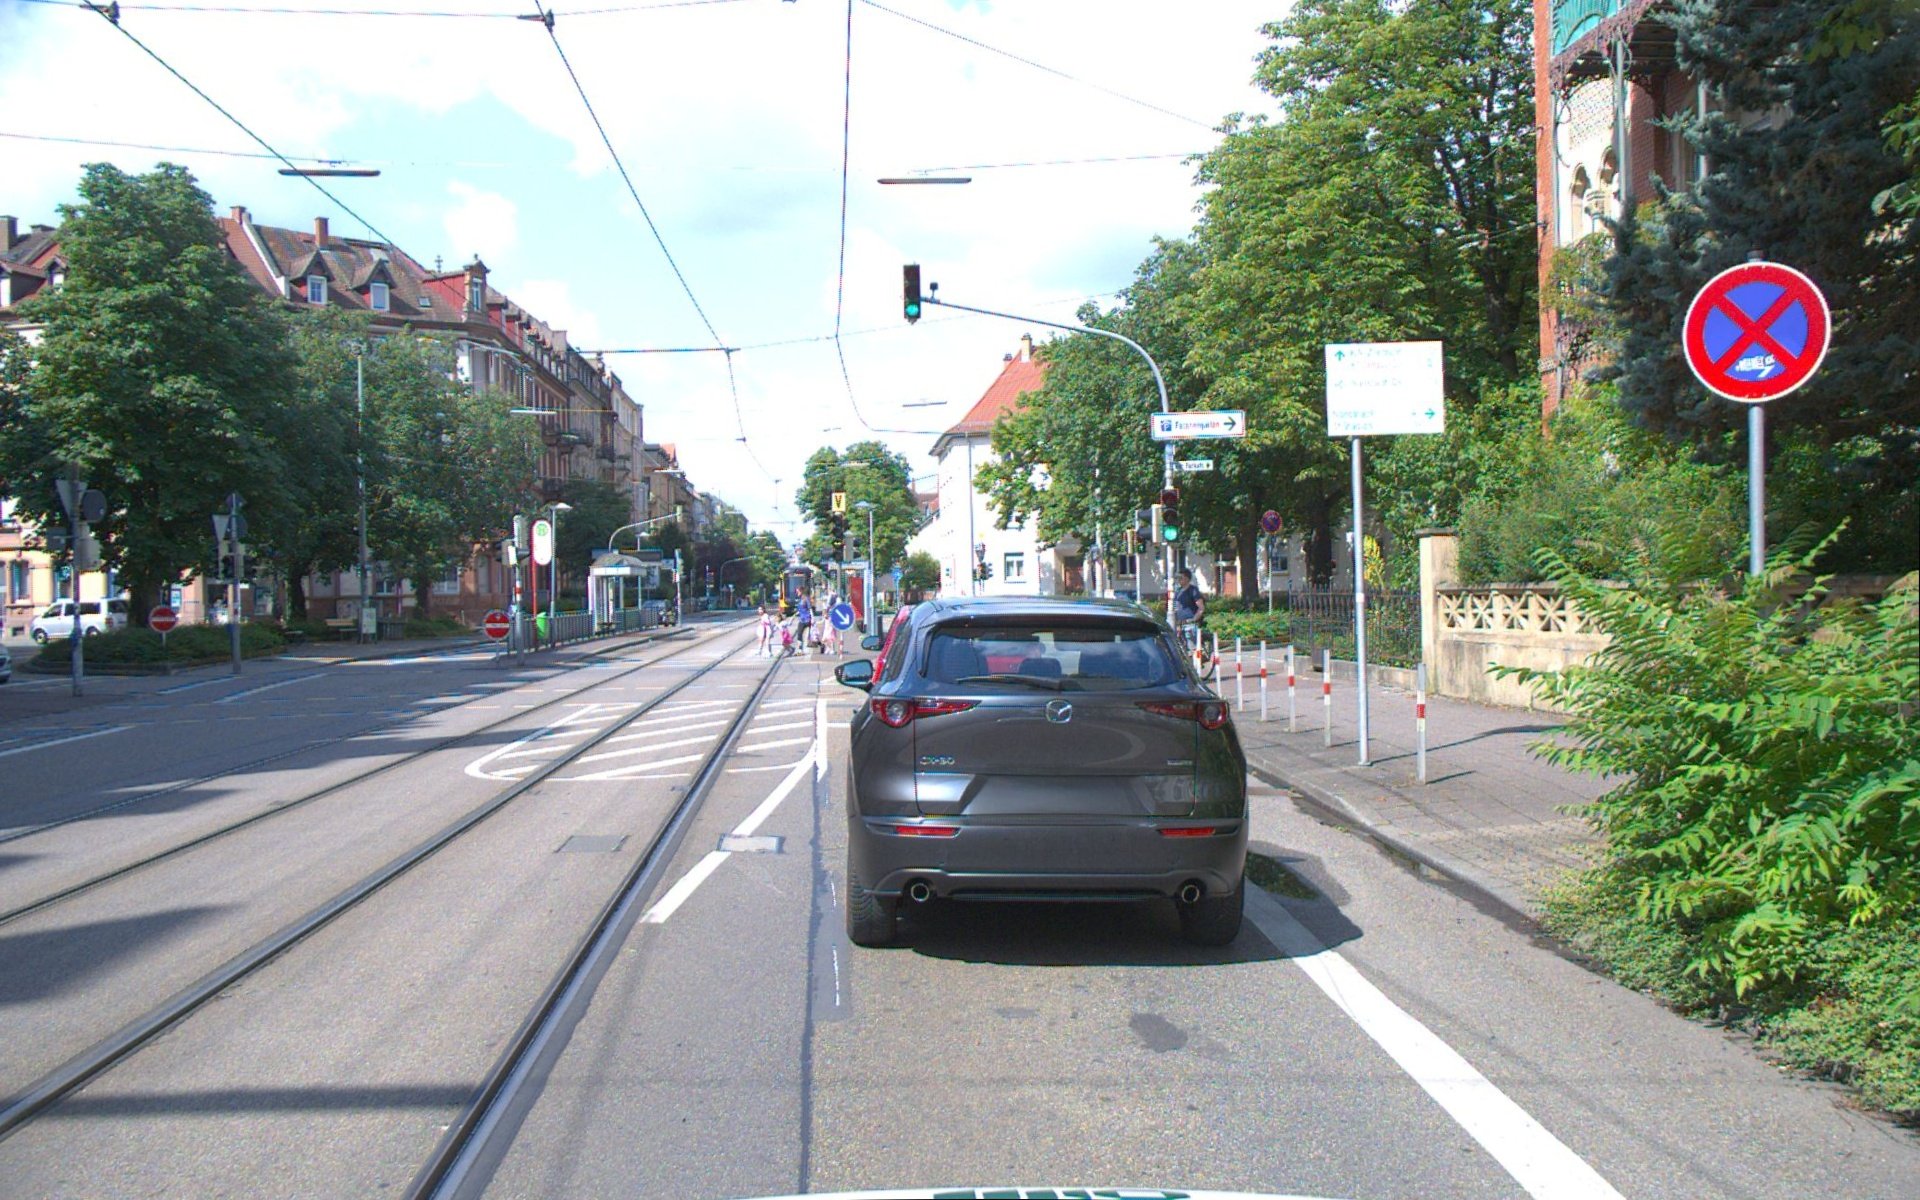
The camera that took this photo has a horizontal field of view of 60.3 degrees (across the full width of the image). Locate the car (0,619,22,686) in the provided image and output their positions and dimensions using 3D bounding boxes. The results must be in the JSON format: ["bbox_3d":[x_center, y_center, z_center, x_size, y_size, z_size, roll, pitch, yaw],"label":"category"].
[{"bbox_3d":[-22.492,1.184,36.639,3.800,1.445,1.713,-1,0,39],"label":"car"}]

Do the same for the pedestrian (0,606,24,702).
[{"bbox_3d":[-17.489,0.976,29.740,0.837,1.702,0.821,-1,0,-3],"label":"pedestrian"}]

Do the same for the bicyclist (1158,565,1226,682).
[{"bbox_3d":[3.751,0.368,26.750,0.724,1.851,0.813,-1,0,-27],"label":"bicyclist"}]

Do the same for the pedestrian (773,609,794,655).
[{"bbox_3d":[-4.368,0.789,40.971,0.429,1.127,0.422,-3,0,-9],"label":"pedestrian"}]

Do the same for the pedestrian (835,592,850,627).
[{"bbox_3d":[-5.403,0.441,76.144,0.654,1.573,0.580,-1,0,-6],"label":"pedestrian"}]

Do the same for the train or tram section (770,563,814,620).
[{"bbox_3d":[-12.706,-0.520,125.772,2.939,4.053,13.795,-1,-1,-4],"label":"train or tram section"}]

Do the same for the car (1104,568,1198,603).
[{"bbox_3d":[9.120,-0.704,79.015,4.090,1.536,1.844,-1,2,38],"label":"car"}]

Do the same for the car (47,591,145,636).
[{"bbox_3d":[-40.020,0.623,76.640,3.853,2.023,1.857,-1,0,19],"label":"car"}]

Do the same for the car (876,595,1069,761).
[{"bbox_3d":[0.066,0.704,16.898,1.739,1.489,3.841,0,0,-2],"label":"car"}]

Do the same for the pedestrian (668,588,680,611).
[{"bbox_3d":[-21.663,-0.065,125.476,0.772,1.718,0.731,-1,0,-3],"label":"pedestrian"}]

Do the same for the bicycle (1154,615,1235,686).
[{"bbox_3d":[3.818,0.805,26.875,0.382,1.053,1.836,-1,1,39],"label":"bicycle"}]

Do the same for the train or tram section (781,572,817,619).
[{"bbox_3d":[-14.836,-0.324,153.316,2.939,4.053,13.795,-1,-1,-4],"label":"train or tram section"}]

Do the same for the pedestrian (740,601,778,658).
[{"bbox_3d":[-4.864,0.710,40.005,0.810,1.326,0.716,-3,0,-9],"label":"pedestrian"}]

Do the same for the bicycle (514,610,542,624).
[{"bbox_3d":[-24.044,0.944,92.085,0.378,0.760,1.707,-1,0,31],"label":"bicycle"}]

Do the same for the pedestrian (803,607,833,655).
[{"bbox_3d":[-3.468,0.746,40.347,0.631,1.133,0.441,-1,0,-19],"label":"pedestrian"}]

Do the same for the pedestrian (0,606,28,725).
[{"bbox_3d":[-14.590,0.966,24.762,0.741,1.734,0.873,3,0,-5],"label":"pedestrian"}]

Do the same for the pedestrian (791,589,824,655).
[{"bbox_3d":[-3.778,0.540,40.914,0.714,1.593,0.797,-1,0,-9],"label":"pedestrian"}]

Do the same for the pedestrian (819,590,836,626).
[{"bbox_3d":[-6.338,0.364,79.200,0.756,1.704,0.667,-1,0,-6],"label":"pedestrian"}]

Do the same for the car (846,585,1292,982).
[{"bbox_3d":[0.416,0.733,8.539,1.746,1.540,3.999,1,0,-1],"label":"car"}]

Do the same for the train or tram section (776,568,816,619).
[{"bbox_3d":[-13.771,-0.423,139.548,2.939,4.053,13.795,-1,-1,-4],"label":"train or tram section"}]

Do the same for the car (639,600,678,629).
[{"bbox_3d":[-15.964,0.745,87.681,1.593,1.411,3.433,-3,0,-4],"label":"car"}]

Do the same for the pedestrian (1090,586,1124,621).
[{"bbox_3d":[5.822,0.145,65.677,1.170,1.291,0.556,-3,0,-10],"label":"pedestrian"}]
